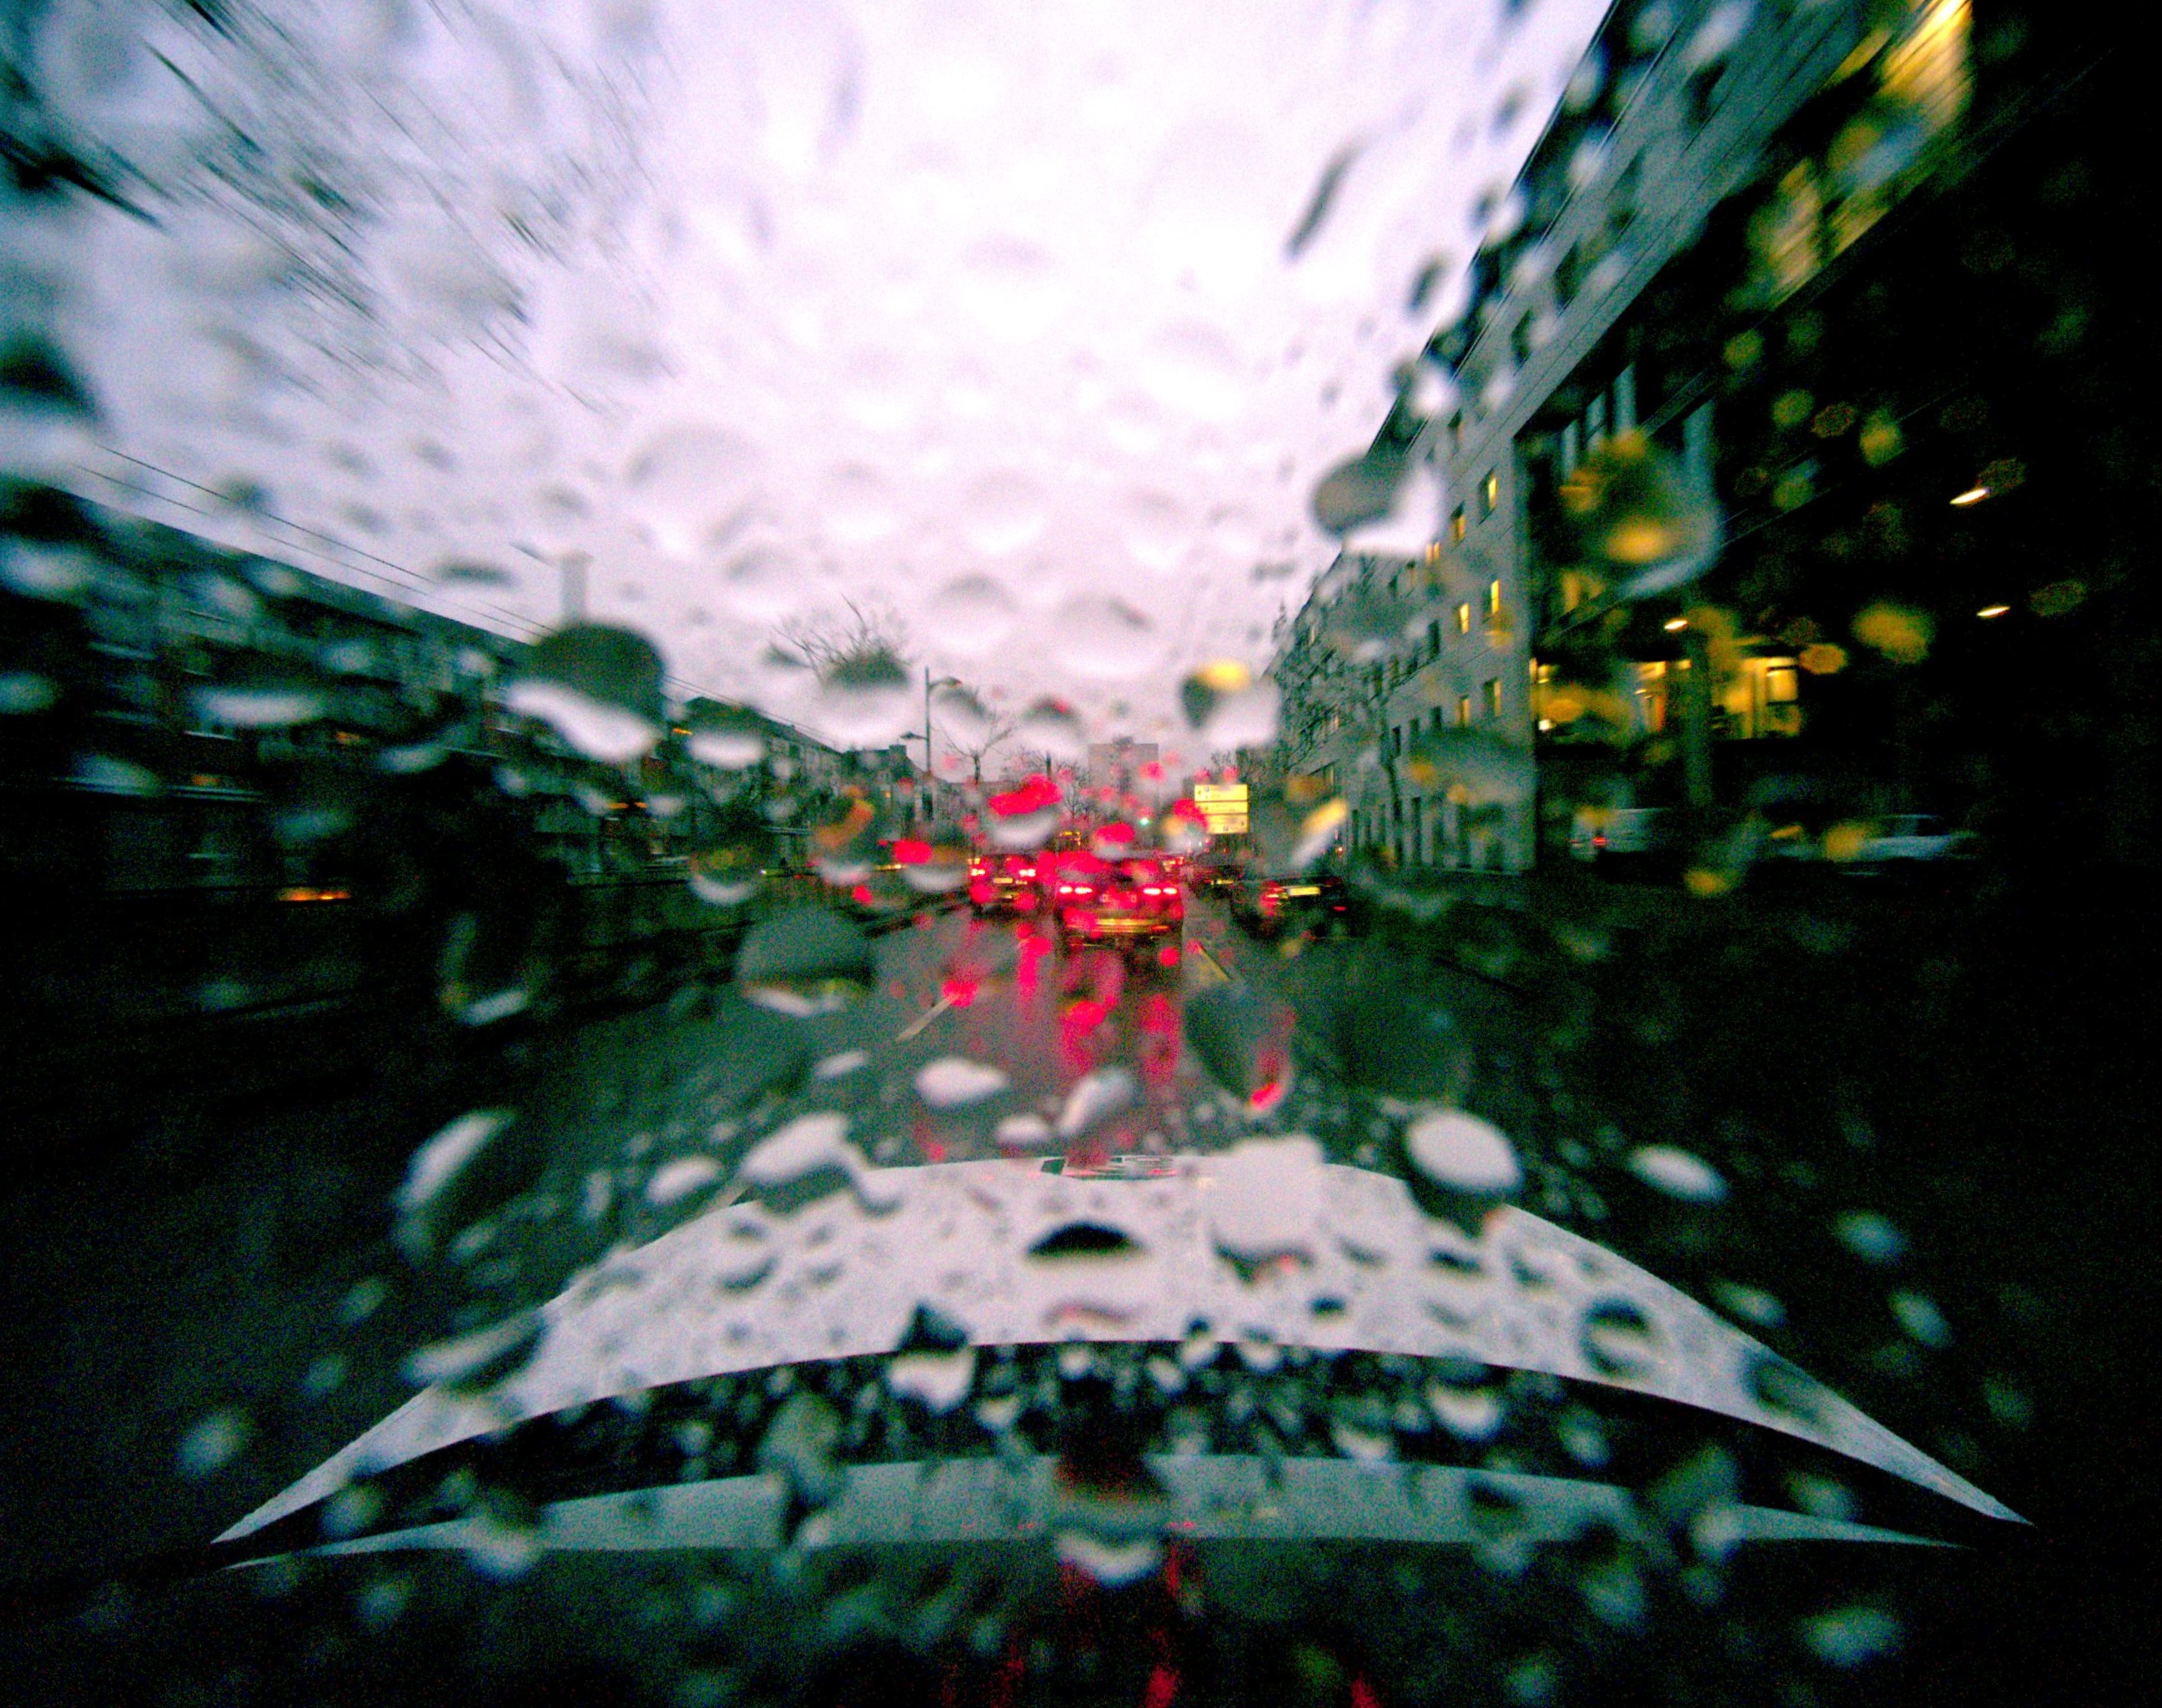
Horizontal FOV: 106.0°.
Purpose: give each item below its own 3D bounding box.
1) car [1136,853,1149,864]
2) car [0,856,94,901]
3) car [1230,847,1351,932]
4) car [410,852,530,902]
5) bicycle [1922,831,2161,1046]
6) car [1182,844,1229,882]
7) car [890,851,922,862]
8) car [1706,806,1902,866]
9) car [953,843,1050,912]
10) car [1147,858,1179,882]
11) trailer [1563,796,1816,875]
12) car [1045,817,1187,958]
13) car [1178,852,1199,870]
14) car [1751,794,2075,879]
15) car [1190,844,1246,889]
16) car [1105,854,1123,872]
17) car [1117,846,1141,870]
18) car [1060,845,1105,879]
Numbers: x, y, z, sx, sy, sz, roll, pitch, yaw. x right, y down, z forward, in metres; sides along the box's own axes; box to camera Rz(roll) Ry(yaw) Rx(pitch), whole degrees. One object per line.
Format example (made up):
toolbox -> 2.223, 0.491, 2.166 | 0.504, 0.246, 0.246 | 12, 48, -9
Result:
car -> 9.022, 0.634, 119.114 | 1.761, 1.502, 3.375 | 0, -1, 7
car -> -36.255, 0.811, 27.370 | 1.702, 1.496, 3.508 | 0, -1, 7
car -> 3.942, 0.624, 15.972 | 1.588, 1.440, 4.233 | 0, -1, 4
car -> -21.351, 0.778, 28.651 | 1.519, 1.639, 3.745 | -1, -1, -3
bicycle -> 5.908, 0.434, 4.401 | 0.548, 1.115, 2.168 | -3, -1, 4
car -> 5.046, 0.329, 33.312 | 1.584, 1.394, 3.491 | -3, 1, 4
car -> -22.222, 0.282, 103.483 | 3.786, 1.366, 1.698 | 0, -1, 0
car -> 20.824, -0.507, 23.617 | 3.961, 1.518, 1.663 | -2, 1, 11
car -> -2.045, 0.605, 22.338 | 1.985, 1.712, 4.328 | 0, -1, 3
car -> 5.015, 0.940, 50.258 | 1.878, 1.353, 4.107 | 0, 1, 5
trailer -> 16.112, -0.490, 21.859 | 5.036, 1.911, 2.136 | -1, 2, 9
car -> 0.568, 0.485, 13.449 | 1.986, 1.976, 4.070 | 0, -1, 2
car -> 10.502, 0.656, 79.783 | 1.983, 1.691, 3.534 | 0, -1, 6
car -> 15.243, -0.264, 15.369 | 1.625, 1.371, 4.533 | 0, -1, 2
car -> 4.627, 0.378, 27.936 | 1.744, 1.403, 4.259 | 0, 1, 8
car -> 3.980, 1.081, 97.556 | 1.943, 2.033, 4.890 | 0, 0, 5
car -> 3.679, 0.310, 62.108 | 1.786, 1.750, 3.628 | 0, -1, 4
car -> 0.148, 0.419, 41.809 | 1.984, 1.642, 4.027 | 0, -1, 4
